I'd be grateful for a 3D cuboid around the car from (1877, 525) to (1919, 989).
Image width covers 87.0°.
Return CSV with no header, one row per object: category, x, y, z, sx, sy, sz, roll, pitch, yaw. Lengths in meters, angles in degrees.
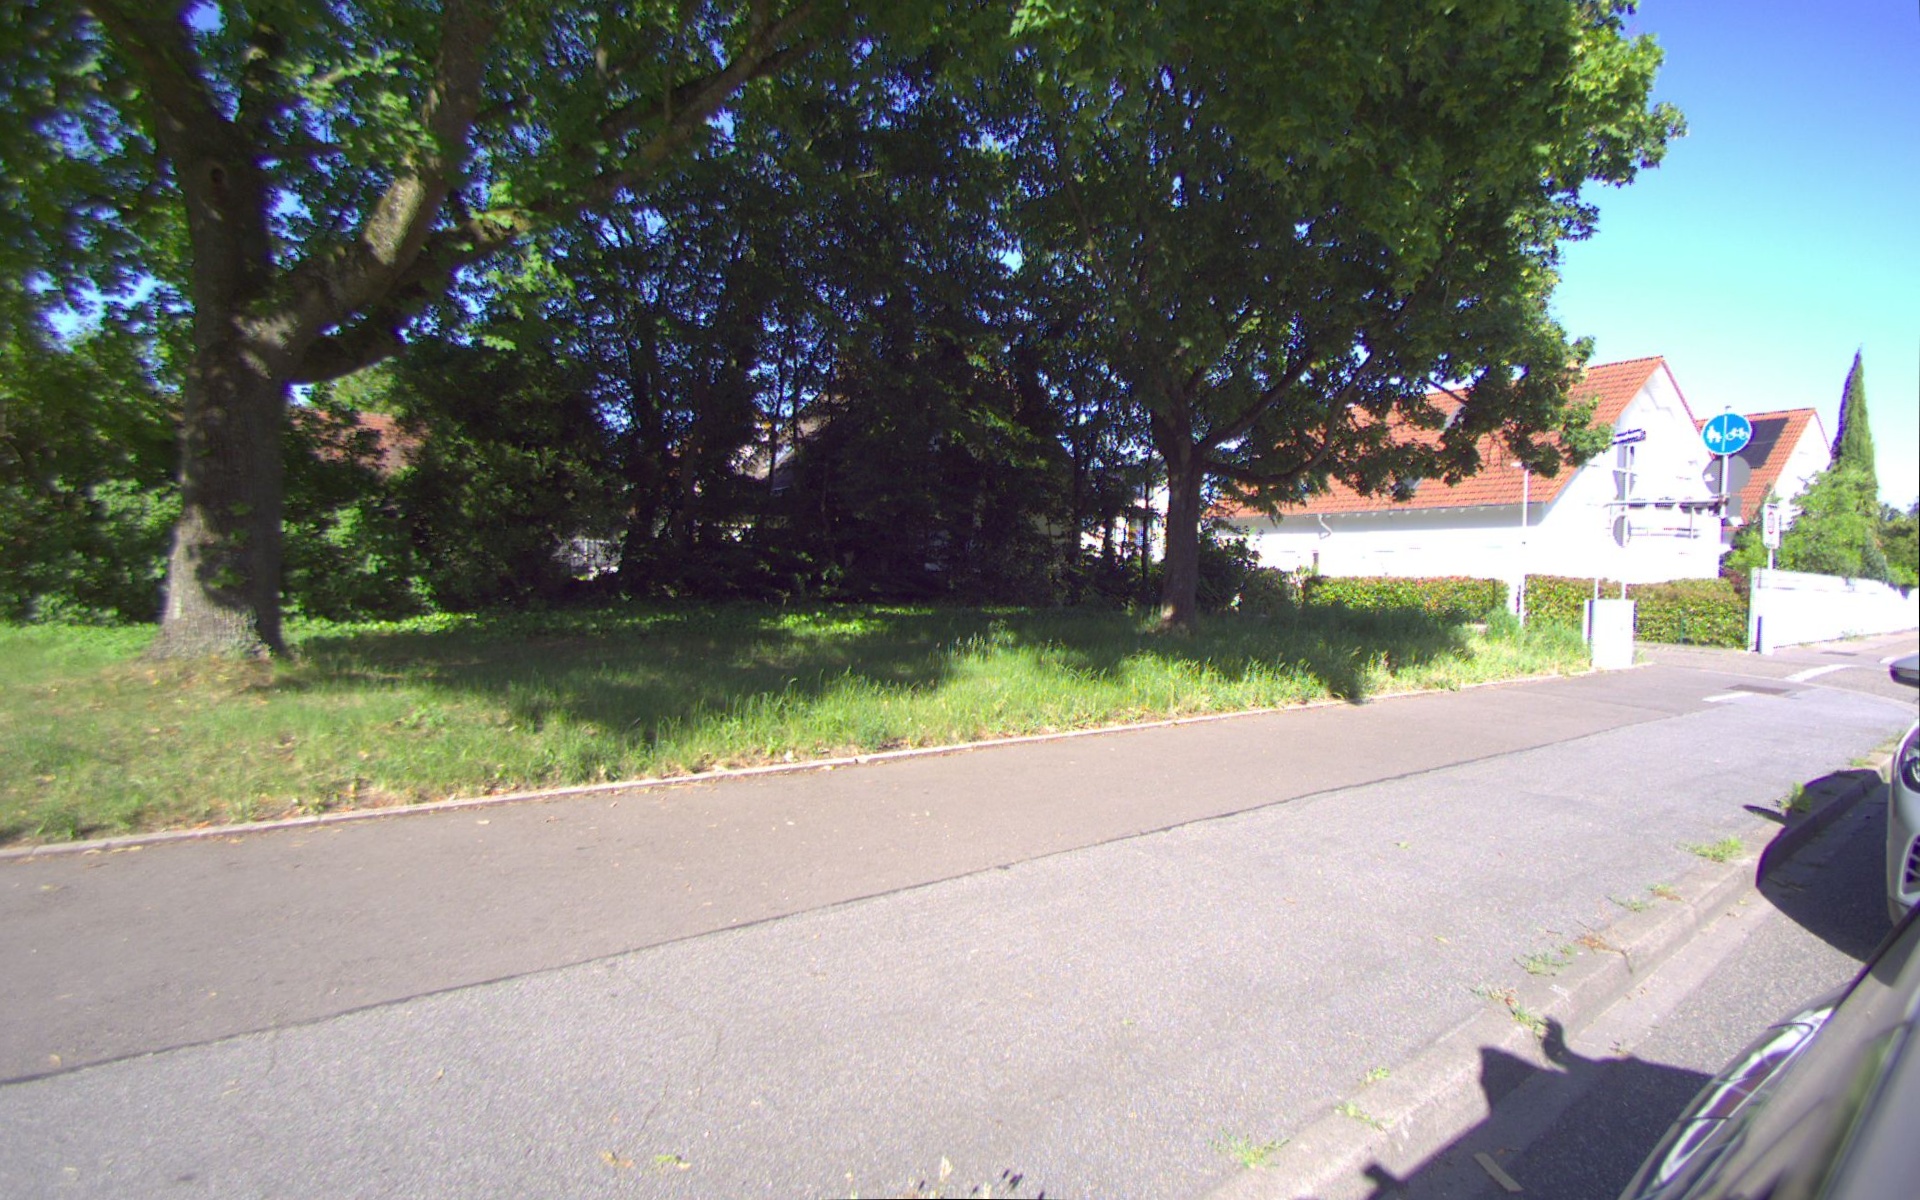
car,5.638,0.601,4.444,4.133,1.710,1.857,0,3,-41
